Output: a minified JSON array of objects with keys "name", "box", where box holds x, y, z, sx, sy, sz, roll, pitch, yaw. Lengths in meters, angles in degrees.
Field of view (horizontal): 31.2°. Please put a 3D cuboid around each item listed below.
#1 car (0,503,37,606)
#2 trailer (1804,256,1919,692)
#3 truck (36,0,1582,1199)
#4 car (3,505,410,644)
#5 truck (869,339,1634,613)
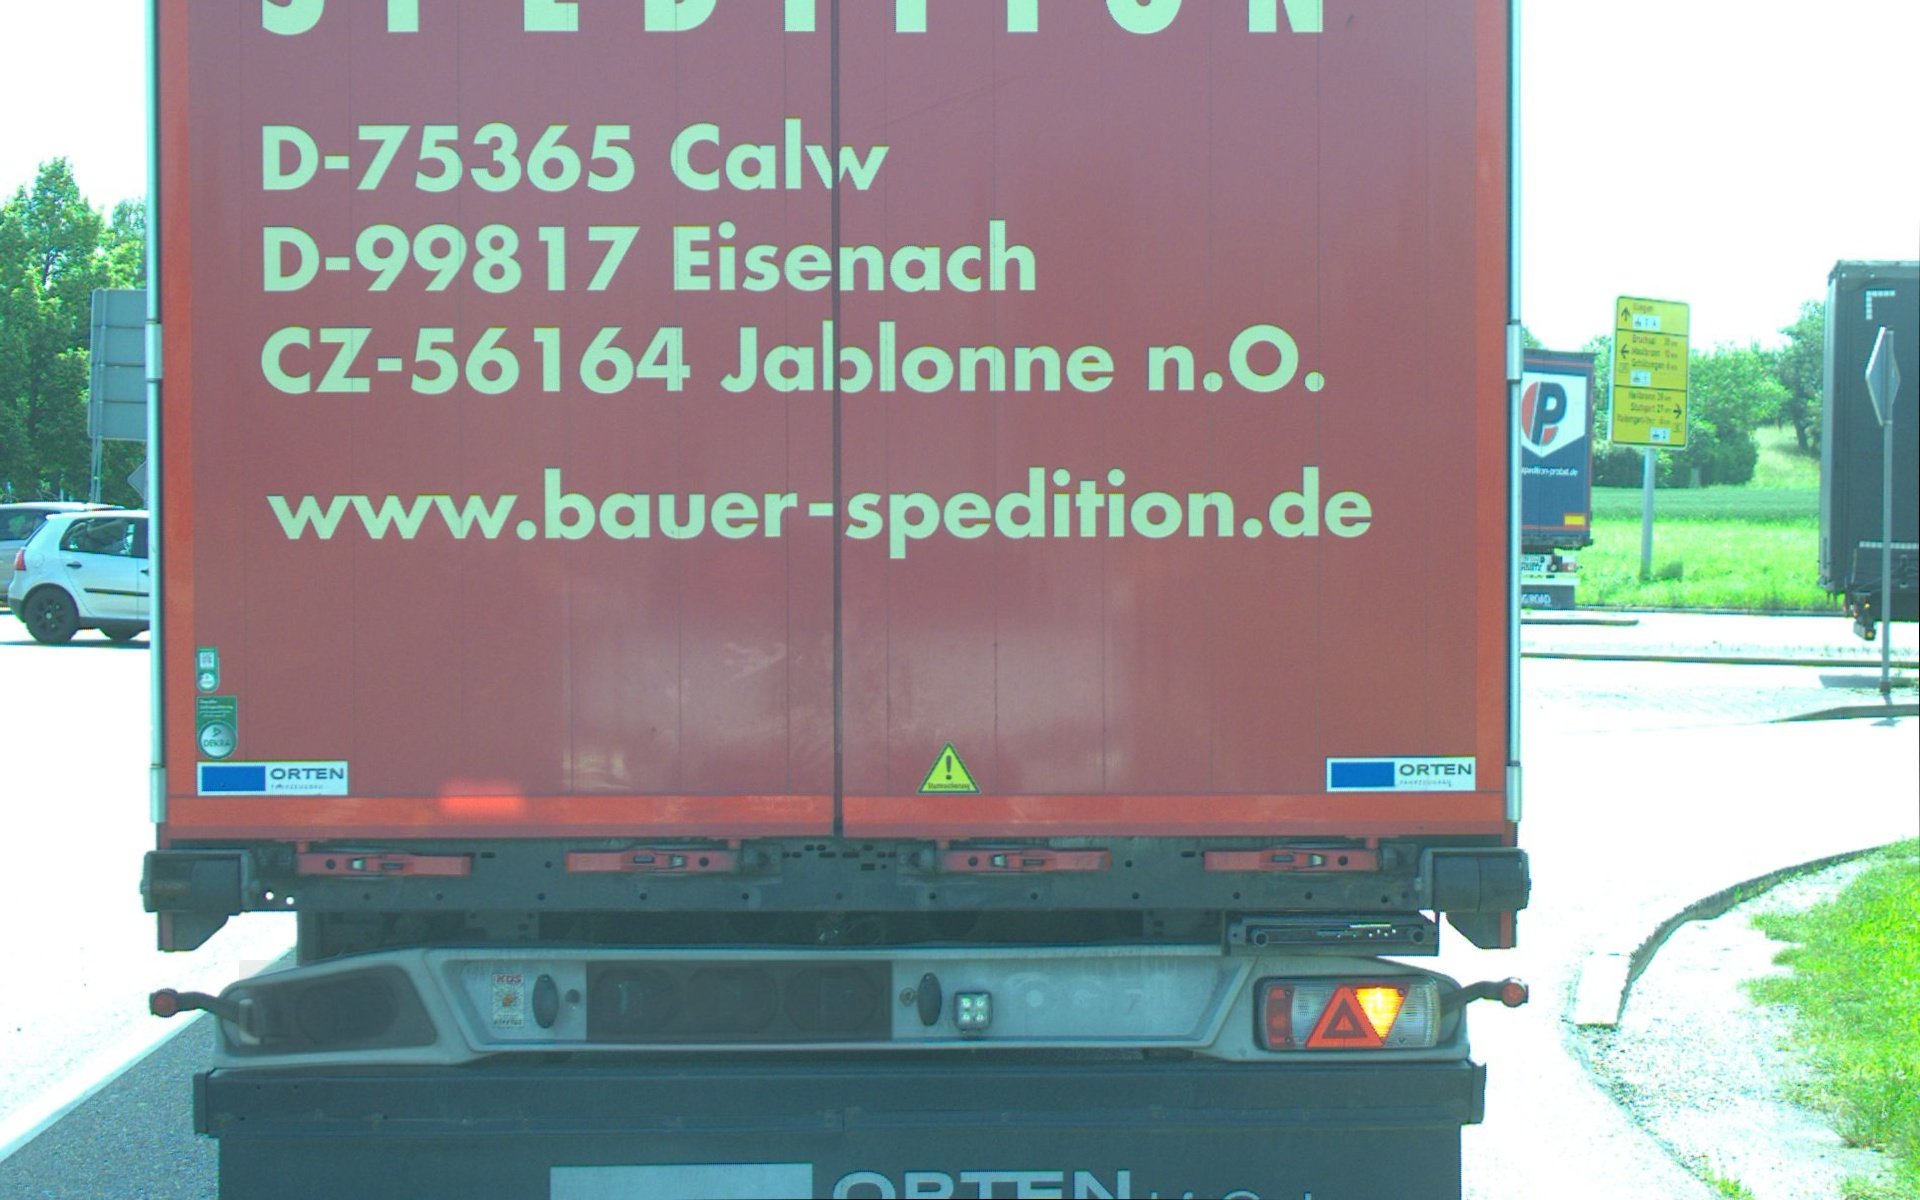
[{"name":"car","box":[-15.675,-0.685,50.295,3.999,1.486,1.536,1,0,18]},{"name":"trailer","box":[15.052,-1.096,32.191,13.690,4.047,2.797,1,2,11]},{"name":"truck","box":[-0.396,-0.772,14.419,2.734,3.911,16.627,0,1,-1]},{"name":"car","box":[-8.328,-0.307,38.074,4.038,1.412,1.794,1,2,16]},{"name":"truck","box":[4.265,-2.068,56.160,3.019,3.966,14.324,-1,3,-41]}]
